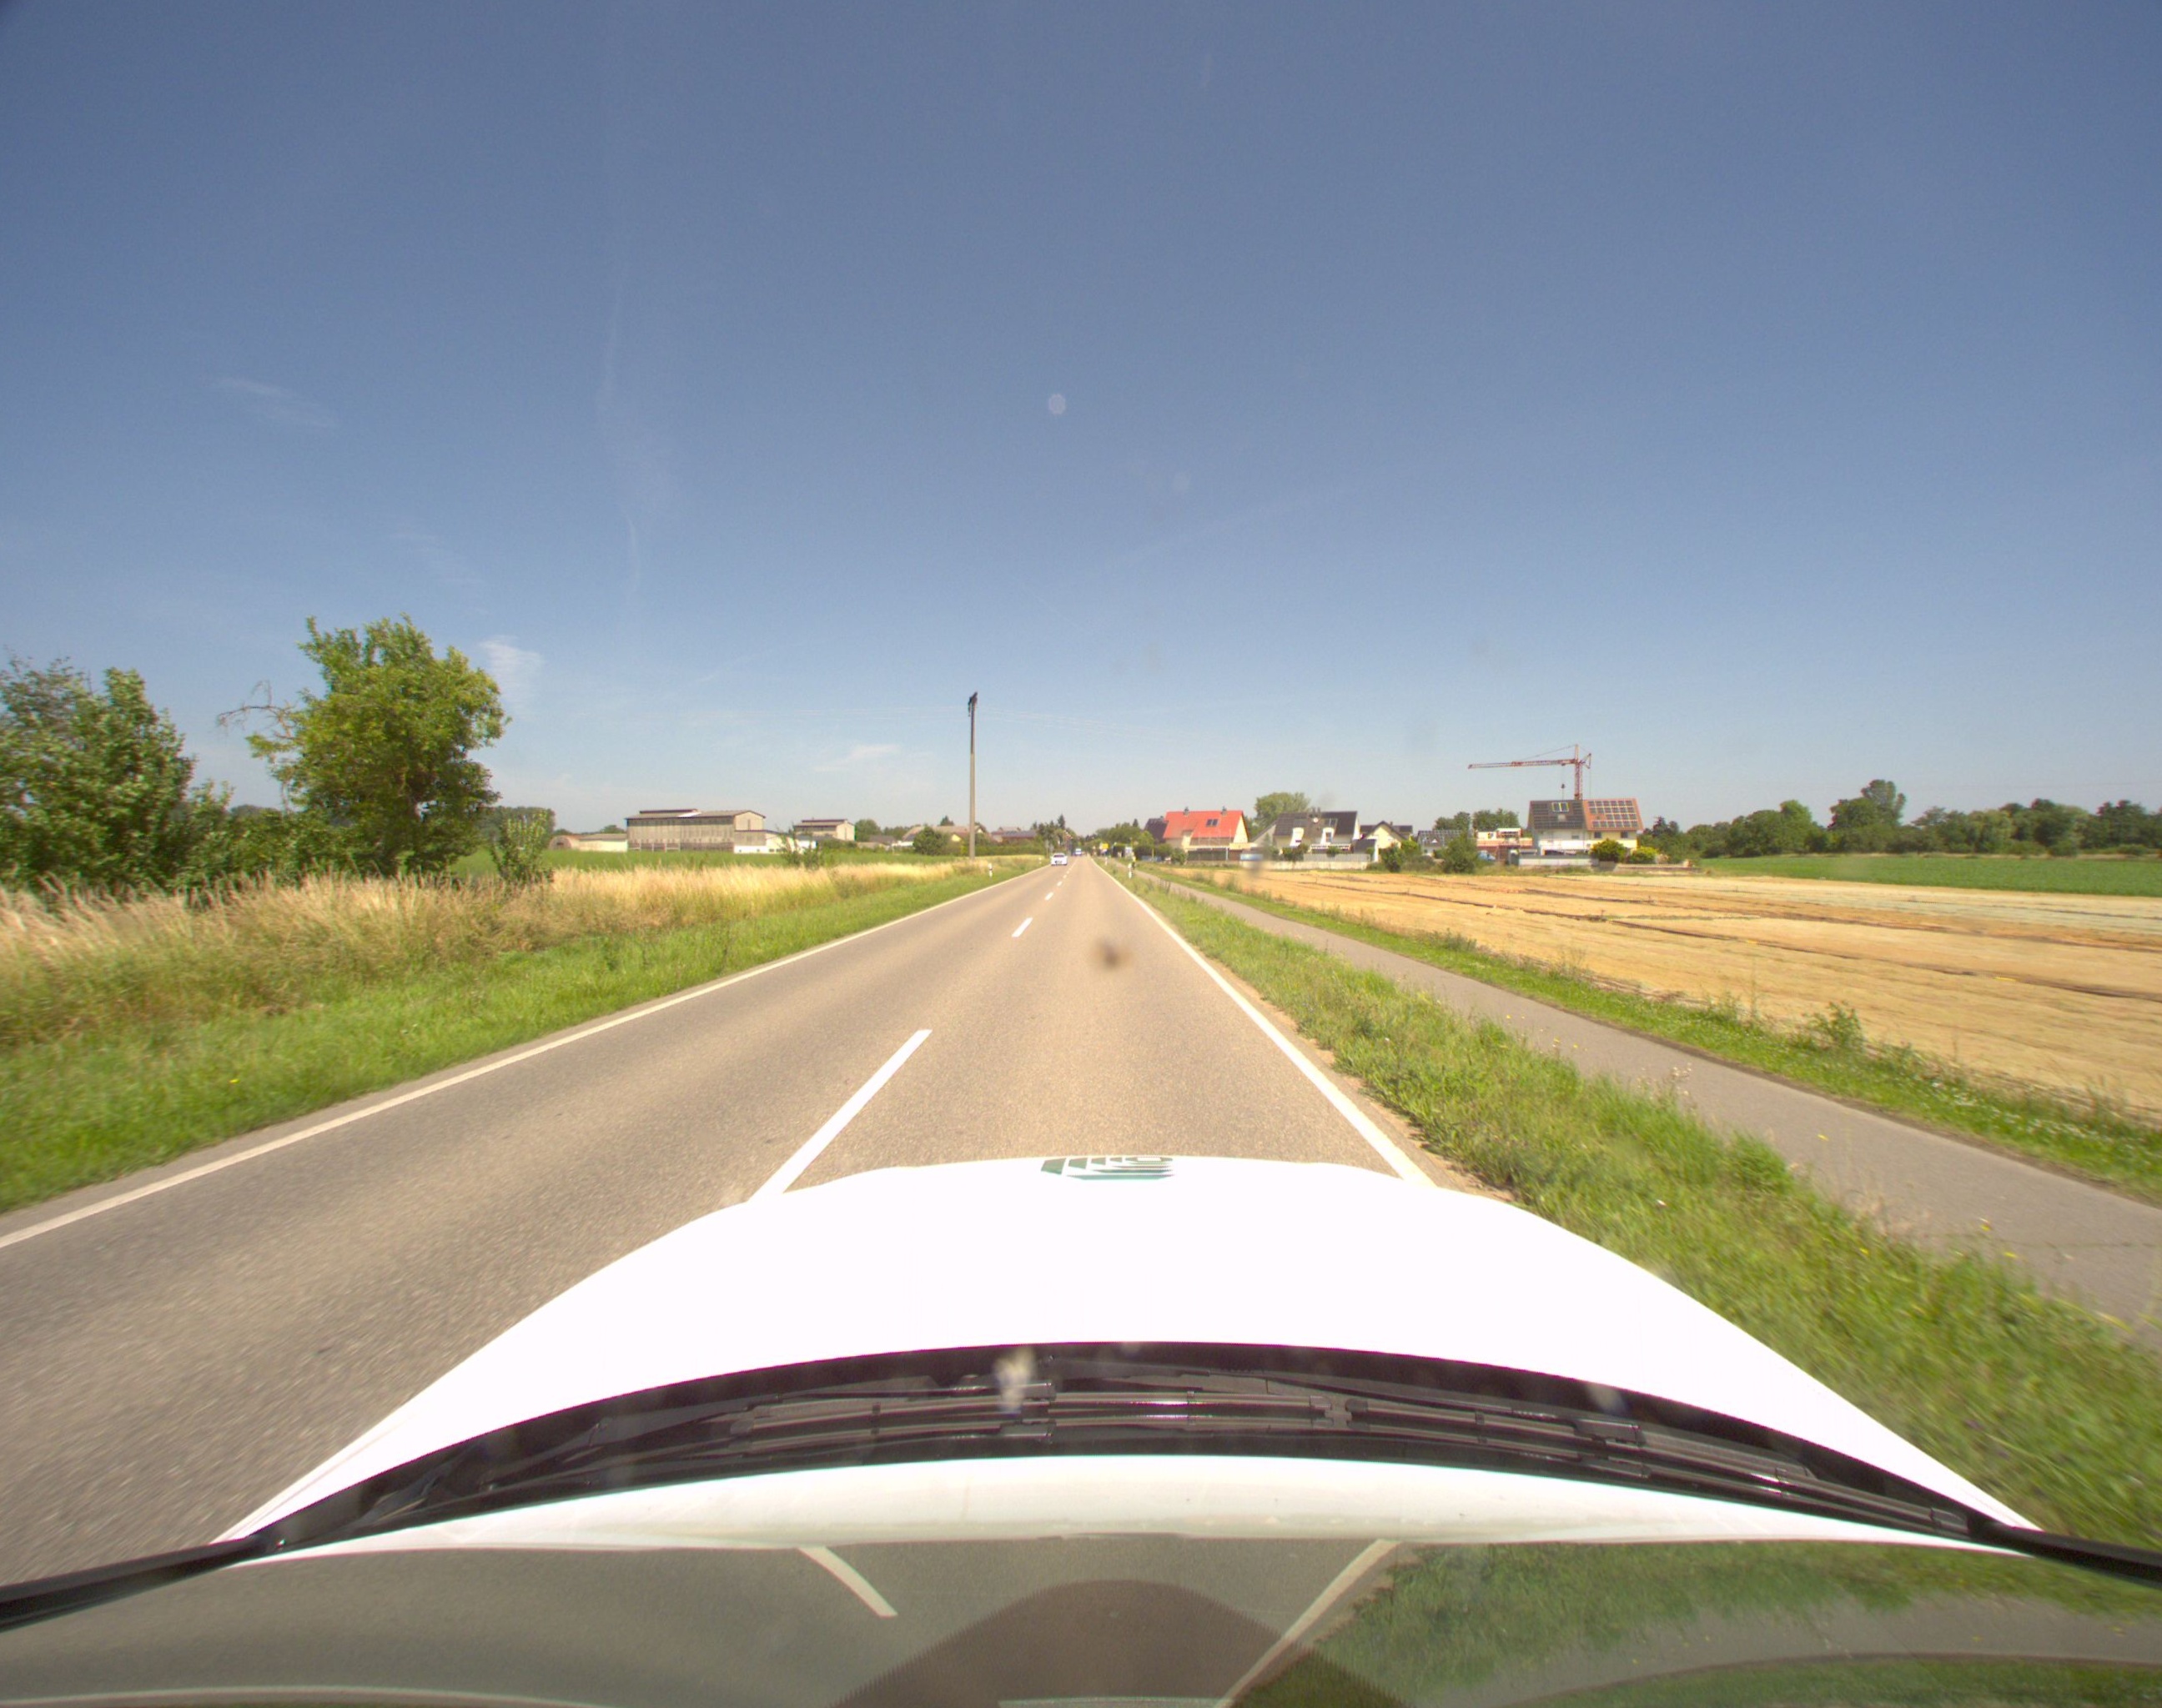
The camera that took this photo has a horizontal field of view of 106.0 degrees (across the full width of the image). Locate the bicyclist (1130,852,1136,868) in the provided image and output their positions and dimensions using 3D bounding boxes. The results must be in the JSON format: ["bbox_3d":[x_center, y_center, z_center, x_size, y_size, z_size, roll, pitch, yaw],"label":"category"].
[{"bbox_3d":[6.334,0.773,98.647,0.643,1.889,0.860,2,1,-1],"label":"bicyclist"}]

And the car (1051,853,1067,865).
[{"bbox_3d":[-2.677,0.584,97.847,1.786,1.409,4.185,-1,0,0],"label":"car"}]

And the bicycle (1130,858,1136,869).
[{"bbox_3d":[6.325,1.142,98.773,0.608,1.158,2.274,2,1,0],"label":"bicycle"}]
